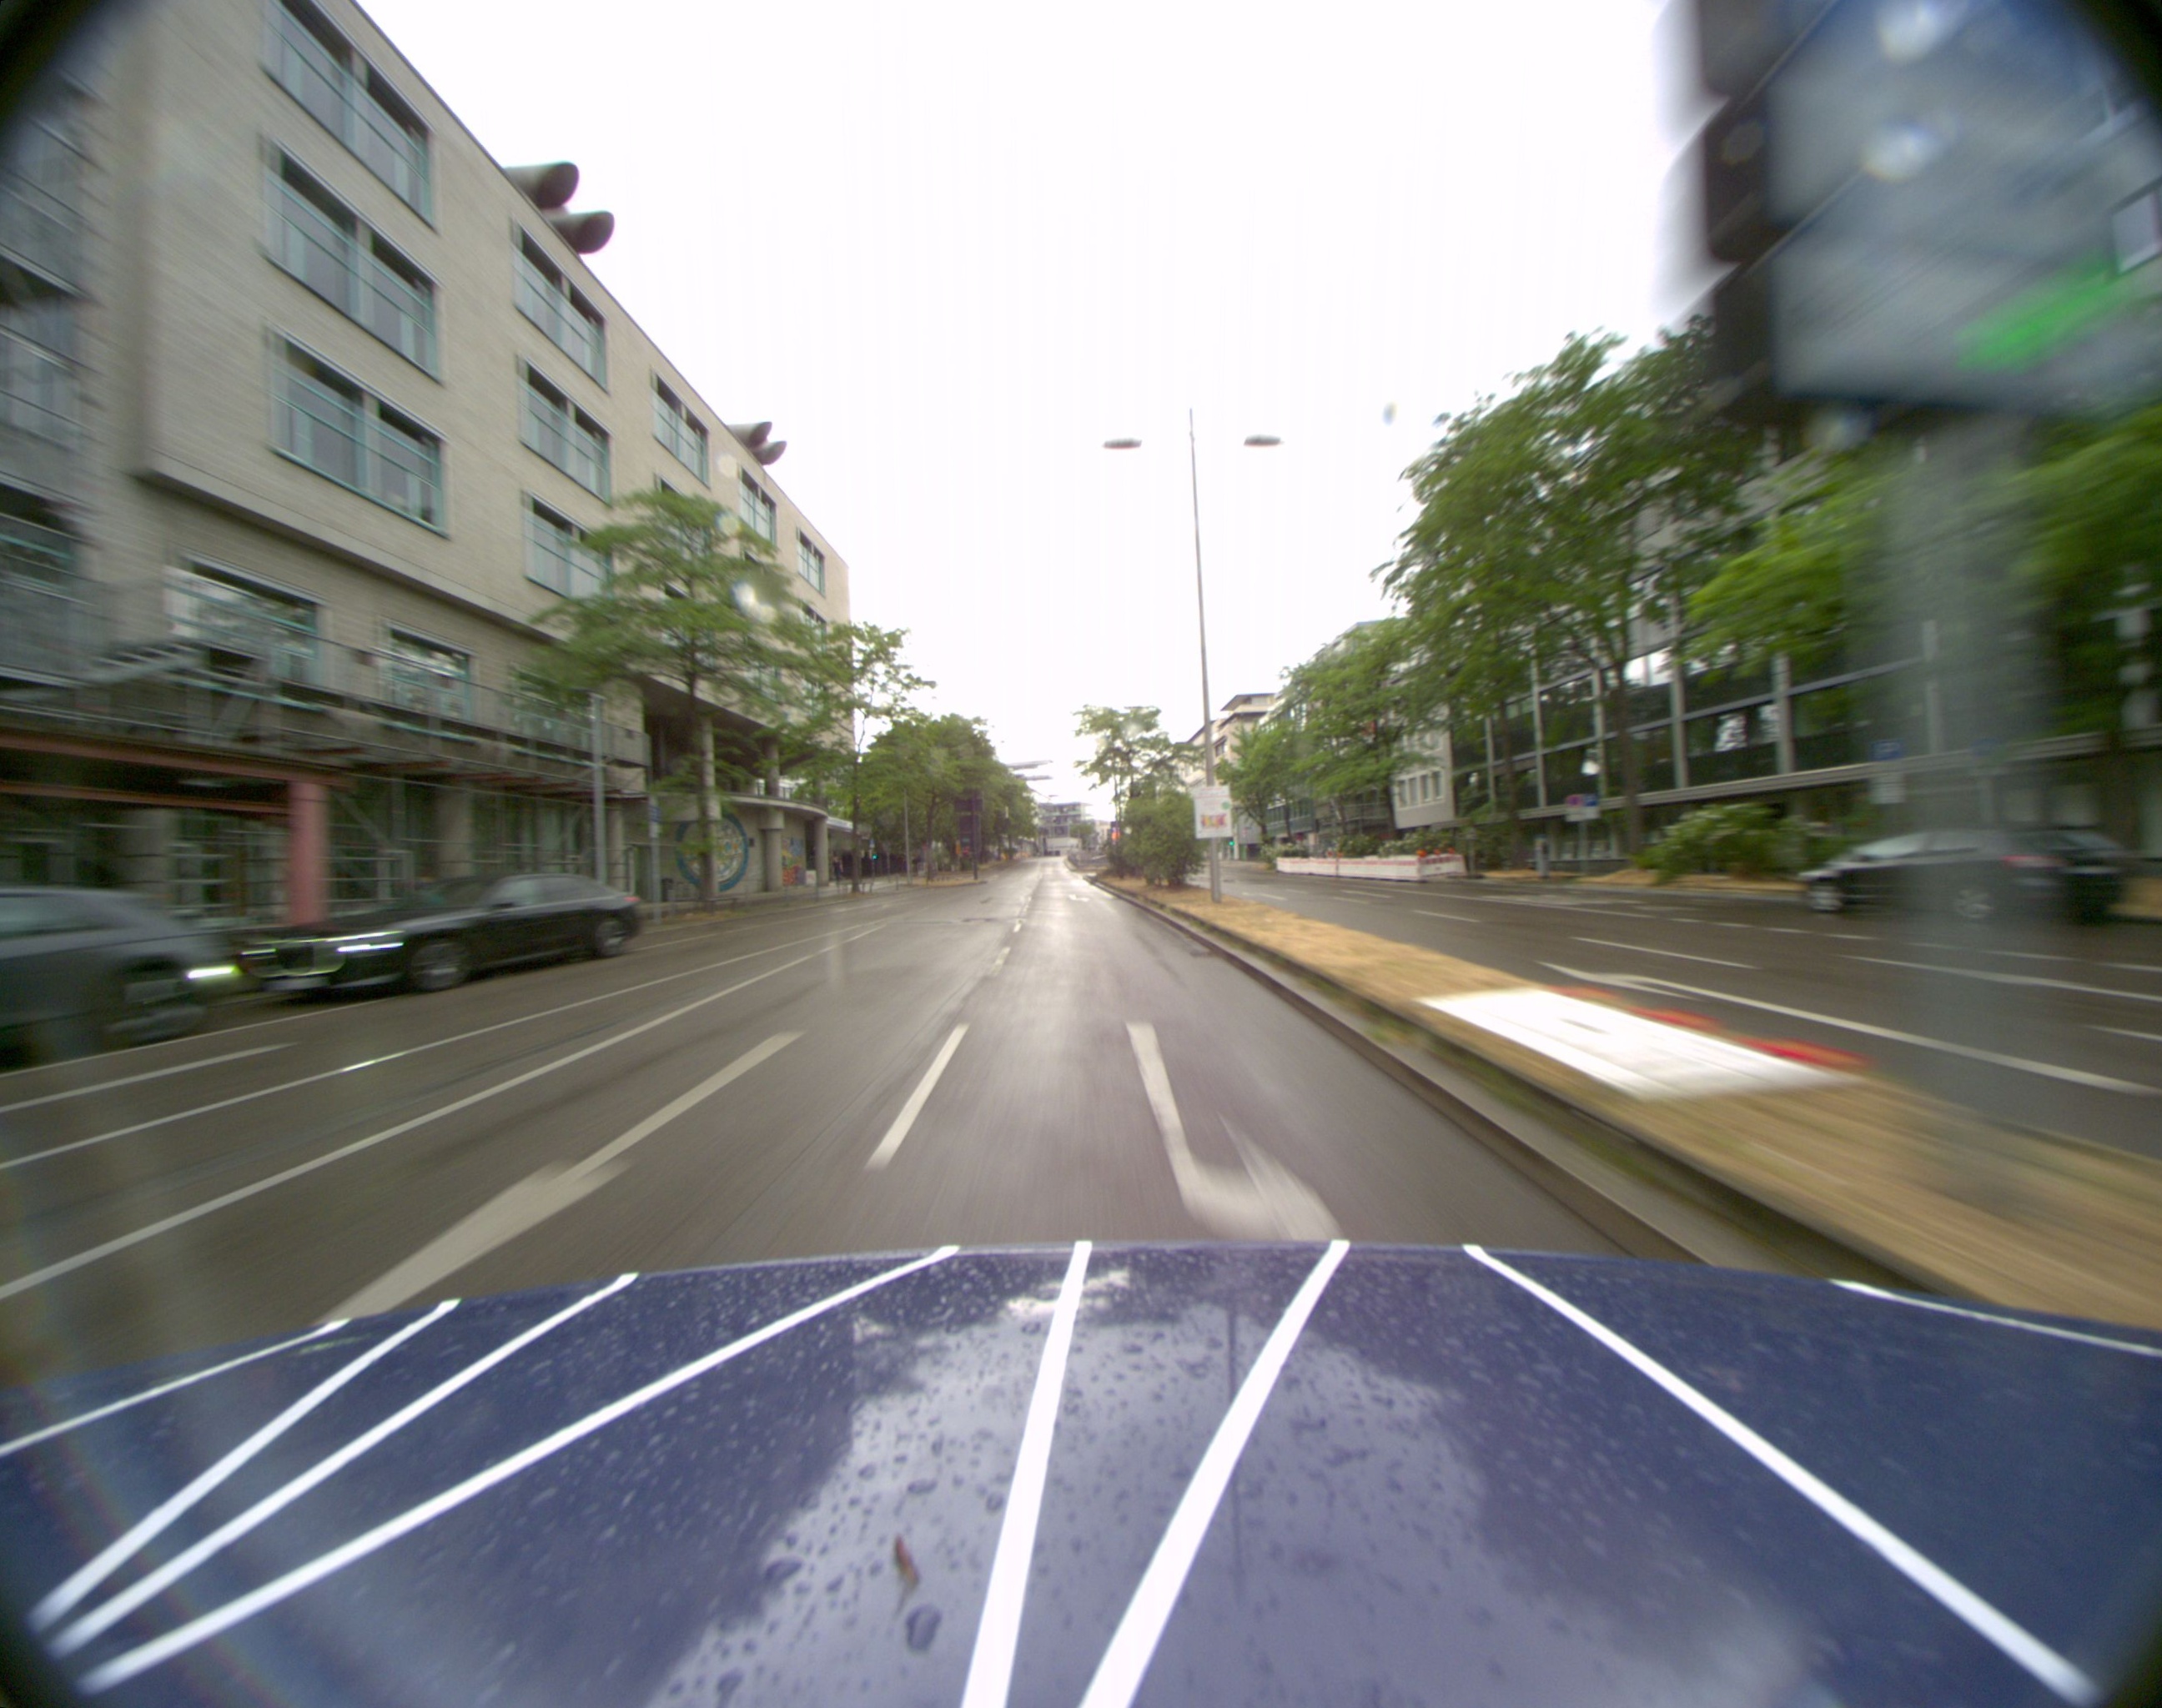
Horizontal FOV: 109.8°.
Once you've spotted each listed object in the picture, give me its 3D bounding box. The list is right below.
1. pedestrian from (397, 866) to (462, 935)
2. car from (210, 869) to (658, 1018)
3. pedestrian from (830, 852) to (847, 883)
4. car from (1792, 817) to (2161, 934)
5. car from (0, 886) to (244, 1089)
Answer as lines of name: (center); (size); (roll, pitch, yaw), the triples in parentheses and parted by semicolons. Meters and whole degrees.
pedestrian: (-15.860, 1.109, 18.516); (0.705, 1.587, 0.923); (-2, 1, 0)
car: (-9.165, 1.122, 11.645); (1.998, 1.591, 5.291); (-2, 0, 5)
pedestrian: (-16.009, 0.888, 50.172); (0.871, 2.002, 0.758); (-2, 1, -3)
car: (14.942, 0.294, 12.979); (1.783, 1.626, 4.023); (-2, 0, -1)
car: (-9.854, 1.170, 5.736); (1.866, 1.591, 4.593); (-2, 0, 2)
